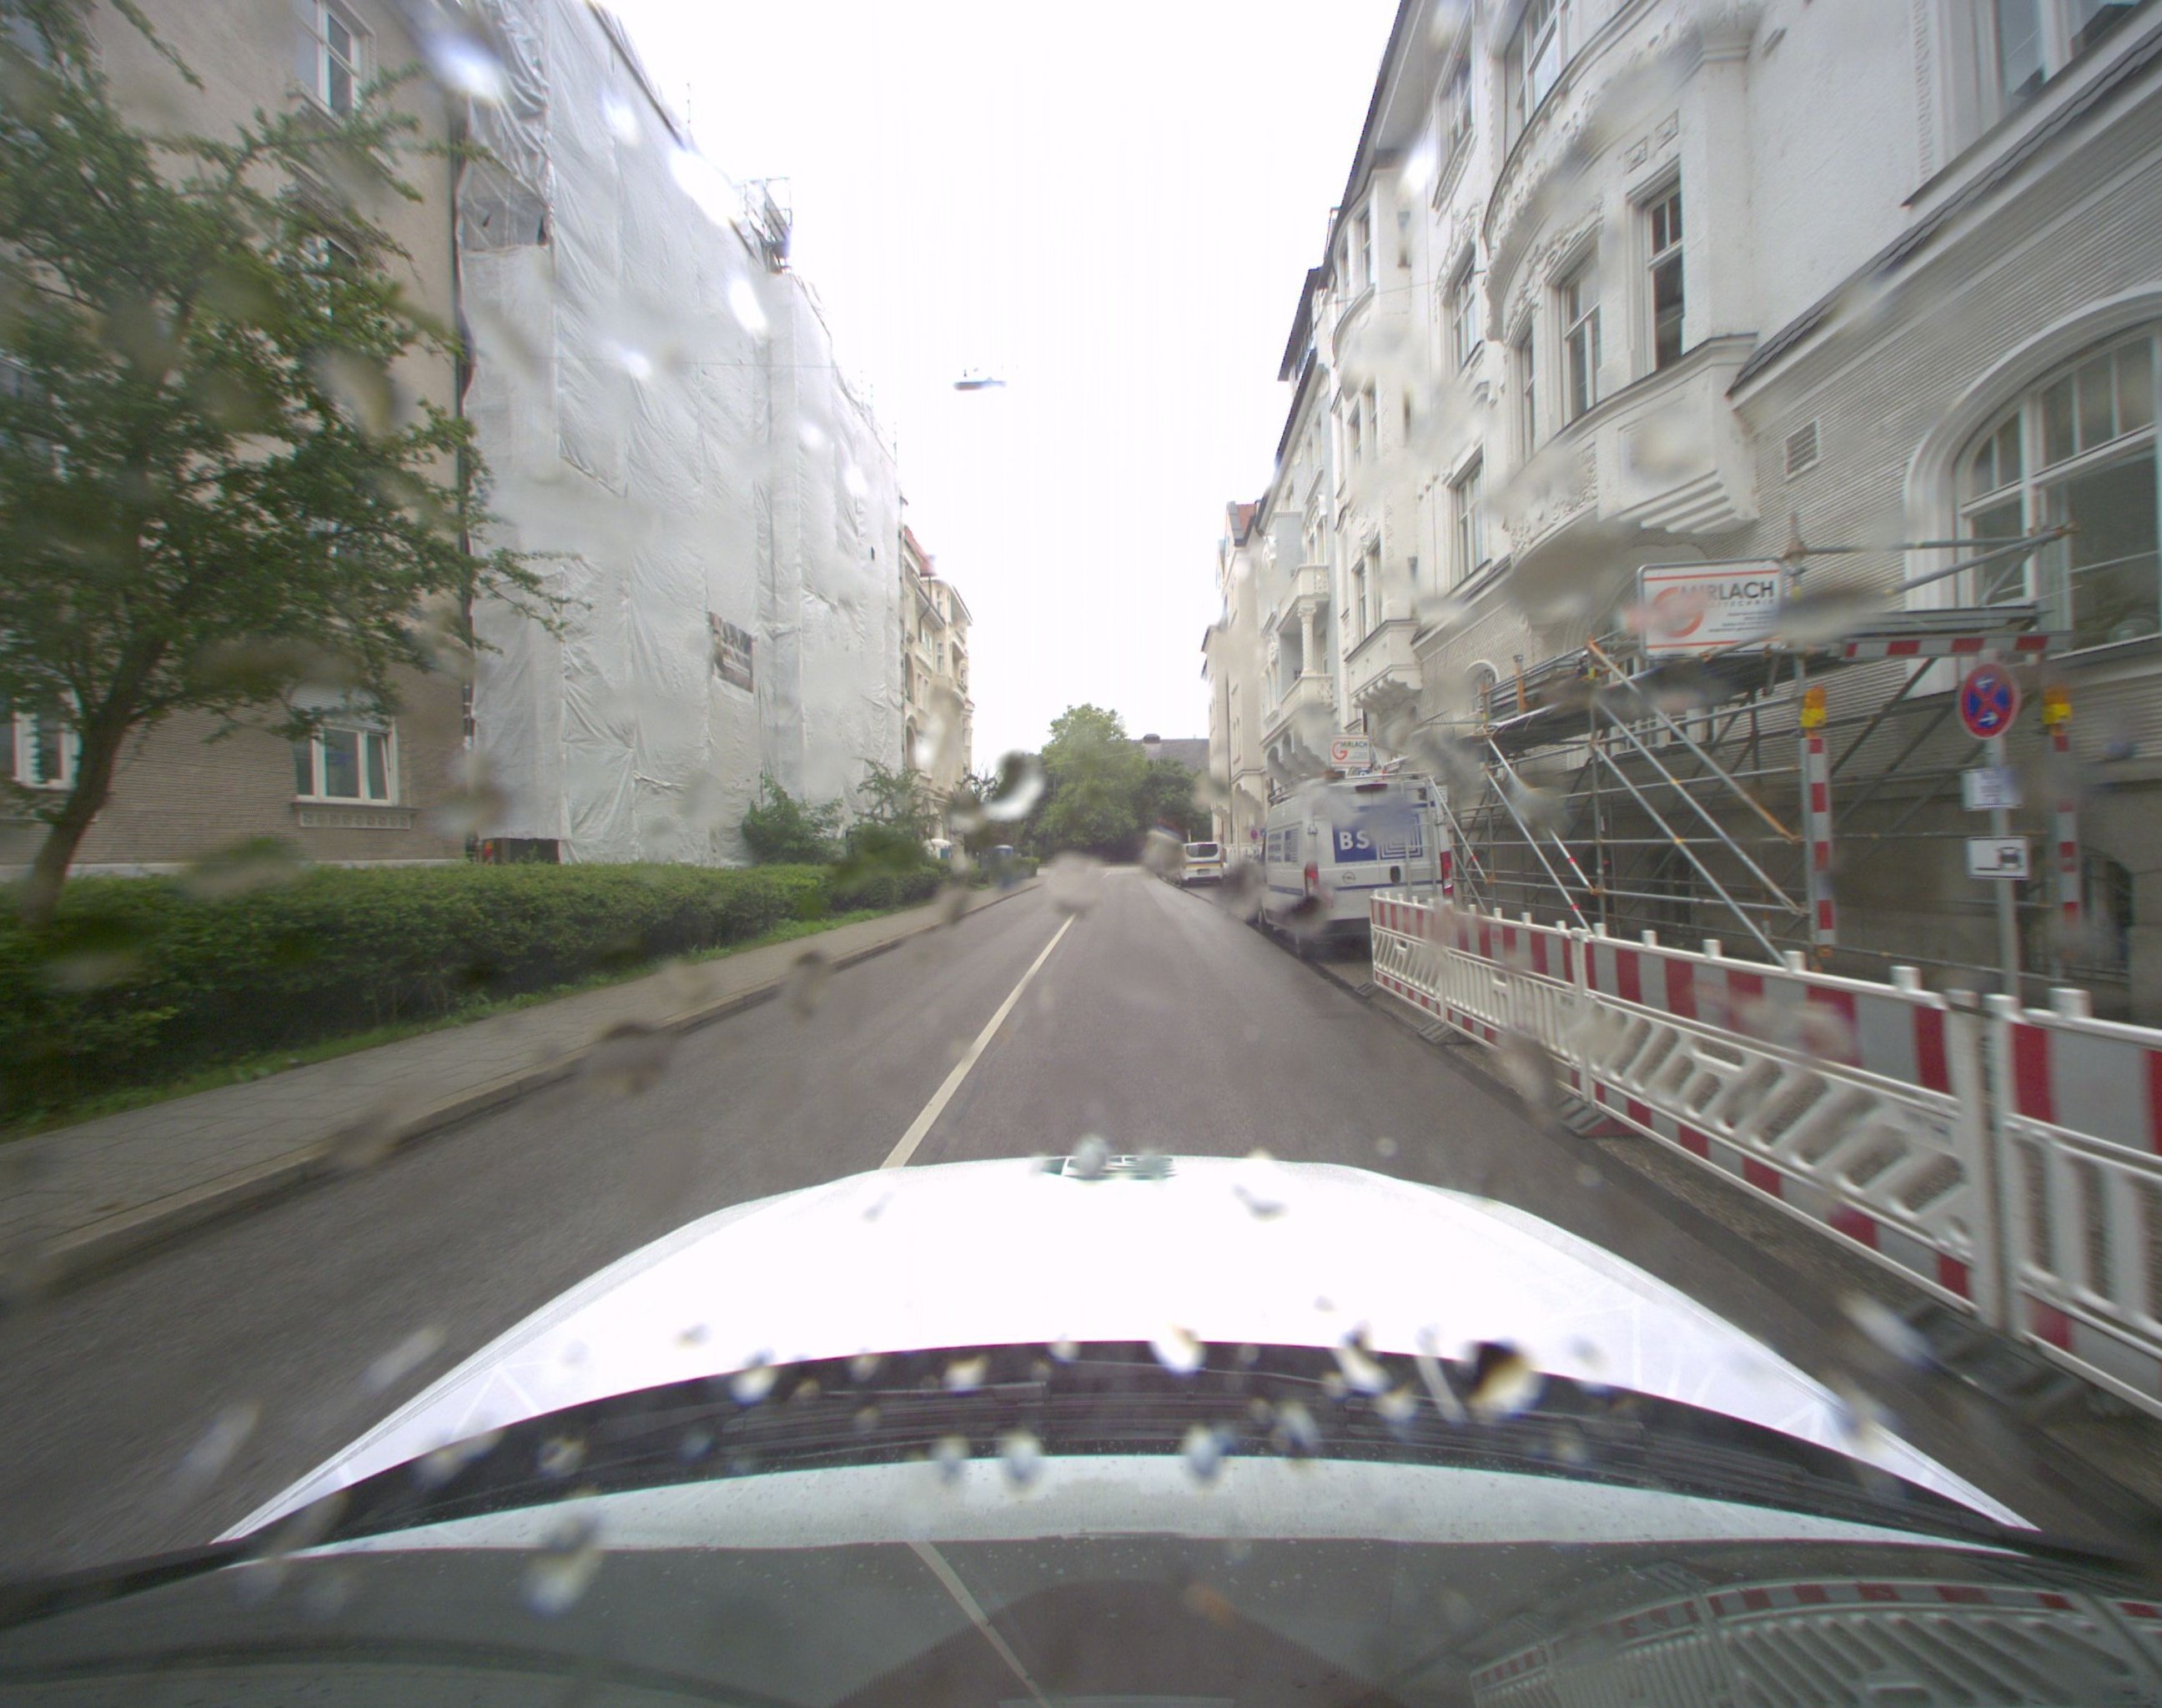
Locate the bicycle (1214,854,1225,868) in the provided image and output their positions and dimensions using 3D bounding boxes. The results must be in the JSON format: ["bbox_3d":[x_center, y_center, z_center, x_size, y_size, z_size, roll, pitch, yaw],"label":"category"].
[{"bbox_3d":[11.892,0.605,69.942,0.691,1.094,2.285,-4,0,4],"label":"bicycle"}]

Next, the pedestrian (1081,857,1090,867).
[{"bbox_3d":[0.541,0.935,97.133,0.807,1.189,0.922,-2,0,9],"label":"pedestrian"}]

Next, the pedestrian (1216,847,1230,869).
[{"bbox_3d":[11.602,0.294,66.473,0.697,1.737,0.727,-2,-4,-42],"label":"pedestrian"}]

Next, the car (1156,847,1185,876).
[{"bbox_3d":[6.136,0.455,55.763,1.841,1.853,4.828,-2,0,6],"label":"car"}]

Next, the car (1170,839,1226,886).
[{"bbox_3d":[5.435,0.378,38.363,1.952,2.013,4.994,-2,0,1],"label":"car"}]

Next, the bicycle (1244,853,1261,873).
[{"bbox_3d":[10.110,0.521,48.037,0.691,1.093,2.039,-4,0,4],"label":"bicycle"}]

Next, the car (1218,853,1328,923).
[{"bbox_3d":[4.441,0.719,19.409,1.747,1.434,4.089,-2,0,2],"label":"car"}]

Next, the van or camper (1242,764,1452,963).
[{"bbox_3d":[4.130,0.141,13.734,1.945,2.637,5.463,-2,0,3],"label":"van or camper"}]

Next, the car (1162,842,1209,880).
[{"bbox_3d":[5.636,0.357,44.500,1.952,1.937,4.994,-2,0,1],"label":"car"}]
